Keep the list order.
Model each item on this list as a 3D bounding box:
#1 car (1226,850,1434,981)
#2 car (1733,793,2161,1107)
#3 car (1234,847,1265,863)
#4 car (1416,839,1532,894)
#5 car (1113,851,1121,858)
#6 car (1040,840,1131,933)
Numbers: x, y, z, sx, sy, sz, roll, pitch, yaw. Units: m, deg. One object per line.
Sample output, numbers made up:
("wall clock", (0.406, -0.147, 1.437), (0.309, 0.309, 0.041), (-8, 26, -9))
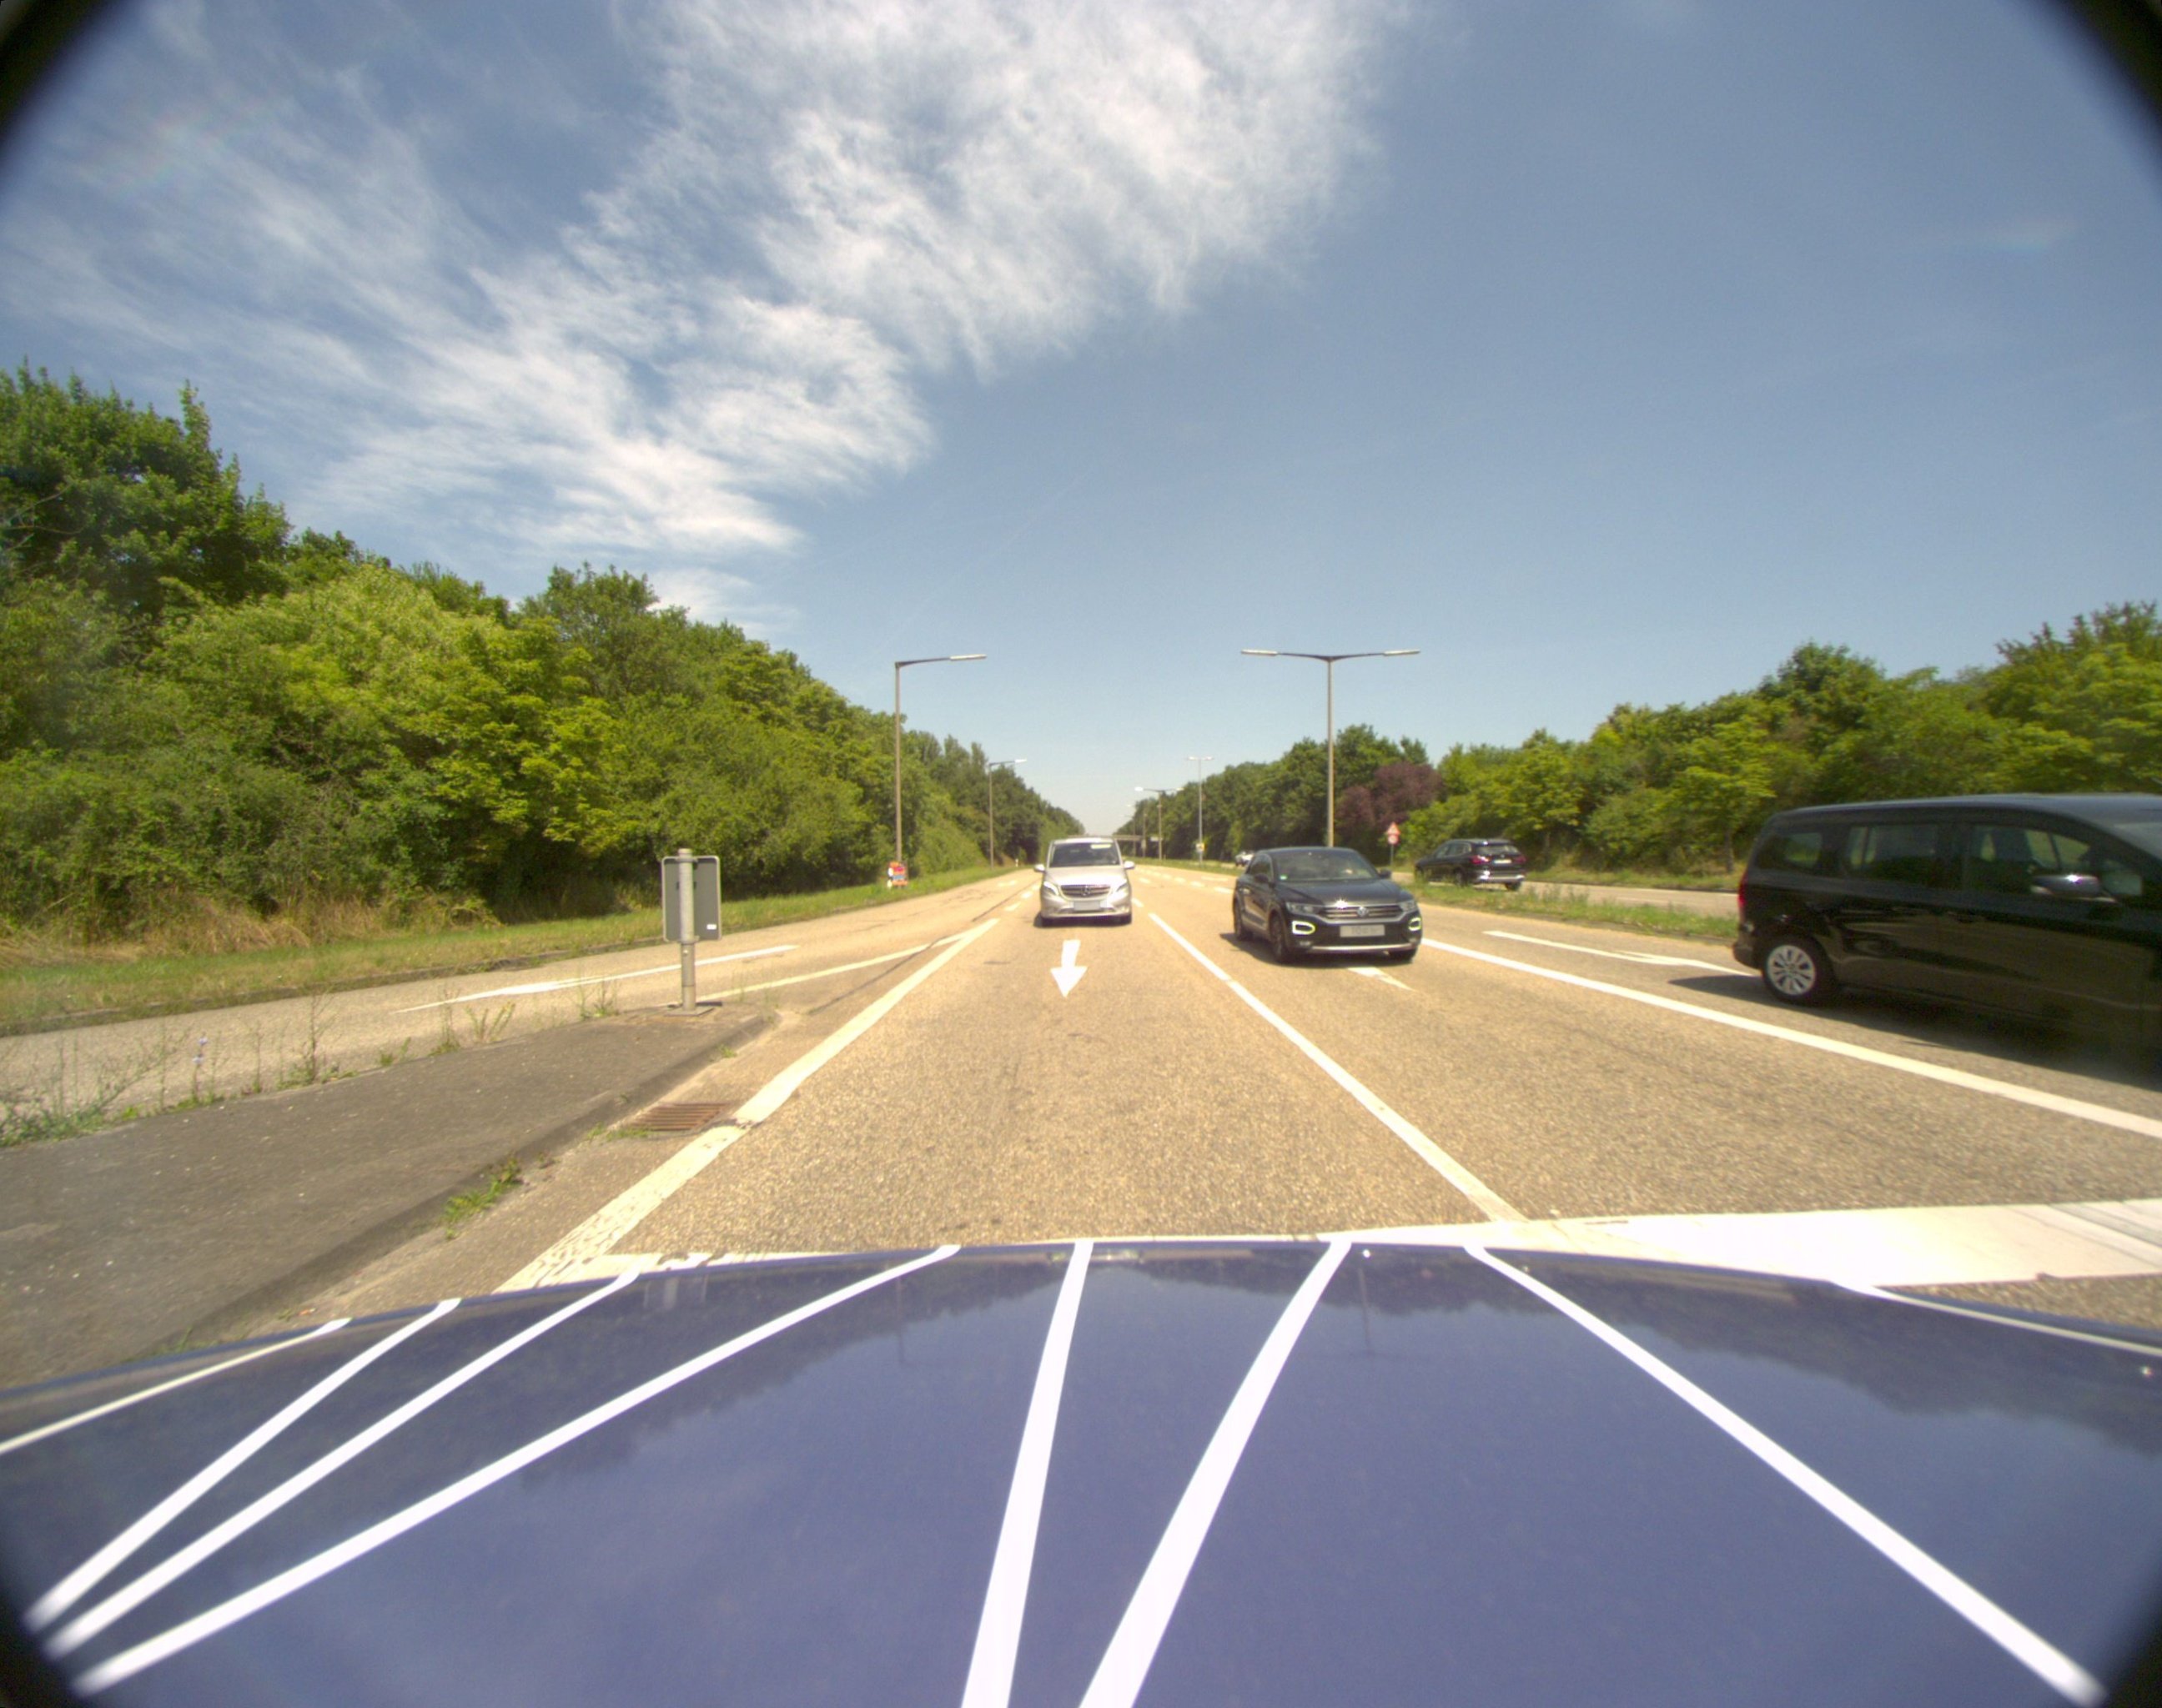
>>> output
("car", (3.371, 0.727, 11.128), (1.739, 1.503, 3.970), (-2, 1, 1))
("car", (7.127, 0.538, 5.156), (1.735, 1.815, 4.321), (-1, 1, 1))
("car", (15.562, 0.086, 70.425), (1.827, 1.447, 4.167), (-1, 0, -2))
("car", (12.847, 0.357, 25.153), (1.711, 1.653, 4.222), (-1, 0, 1))
("car", (8.914, 0.110, 188.798), (1.735, 1.815, 4.321), (-1, 1, 1))
("car", (0.121, 0.623, 17.656), (1.764, 1.794, 4.855), (-2, 1, 1))
